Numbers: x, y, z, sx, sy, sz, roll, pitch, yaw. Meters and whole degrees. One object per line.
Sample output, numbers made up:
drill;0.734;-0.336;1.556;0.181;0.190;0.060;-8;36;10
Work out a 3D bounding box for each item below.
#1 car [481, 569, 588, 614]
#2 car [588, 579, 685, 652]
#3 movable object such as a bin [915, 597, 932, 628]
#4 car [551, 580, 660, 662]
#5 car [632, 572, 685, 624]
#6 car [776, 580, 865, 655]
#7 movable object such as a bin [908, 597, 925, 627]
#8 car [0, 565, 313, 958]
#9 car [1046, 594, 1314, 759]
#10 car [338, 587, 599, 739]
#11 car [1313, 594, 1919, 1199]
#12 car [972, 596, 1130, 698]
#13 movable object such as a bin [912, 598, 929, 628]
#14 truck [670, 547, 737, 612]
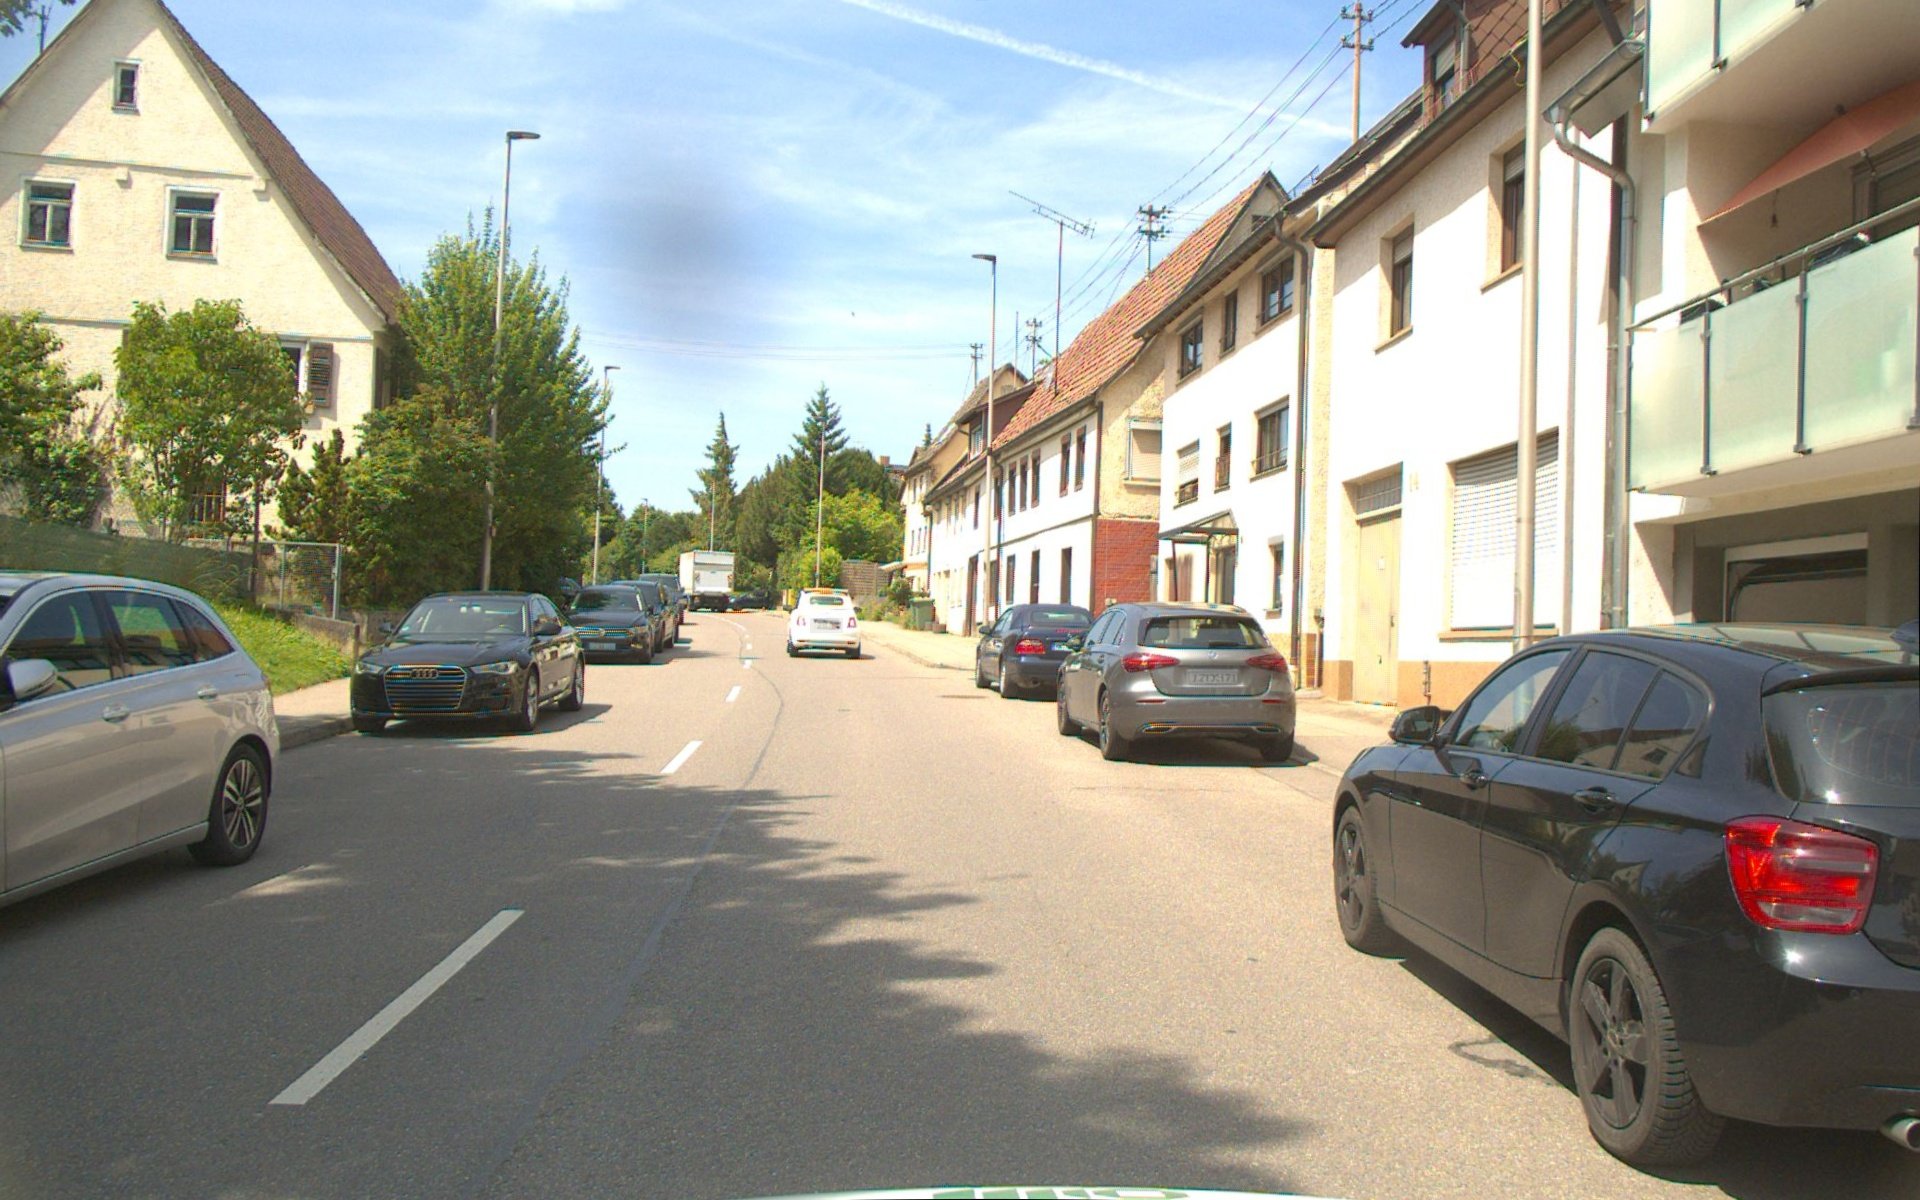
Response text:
car;-17.870;-0.353;69.470;4.163;1.429;1.812;6;-1;-18
car;-7.503;0.323;38.711;1.721;1.547;4.296;2;1;-5
movable object such as a bin;-1.258;0.443;57.041;0.536;1.051;0.550;-1;1;-9
car;-6.981;0.387;32.974;1.755;1.489;4.704;1;0;-8
car;-12.036;-0.061;65.833;1.858;1.971;4.970;1;0;-12
car;-3.268;0.395;38.160;1.693;1.587;3.991;2;0;-10
movable object such as a bin;-1.535;0.426;58.786;0.536;1.051;0.550;-1;1;-9
car;-4.656;0.636;7.511;1.736;1.554;4.222;0;0;1
car;2.054;0.667;16.701;1.759;1.427;4.407;1;0;-5
car;-5.436;0.614;18.971;1.769;1.448;4.925;1;1;-3
car;2.611;0.741;5.729;1.760;1.449;4.289;1;0;-1
car;1.302;0.660;25.309;1.634;1.376;4.180;2;0;-8
movable object such as a bin;-1.377;0.447;57.611;0.536;1.051;0.550;-1;1;-9
truck;-16.228;-1.237;104.186;3.020;3.840;7.830;2;-1;-17
